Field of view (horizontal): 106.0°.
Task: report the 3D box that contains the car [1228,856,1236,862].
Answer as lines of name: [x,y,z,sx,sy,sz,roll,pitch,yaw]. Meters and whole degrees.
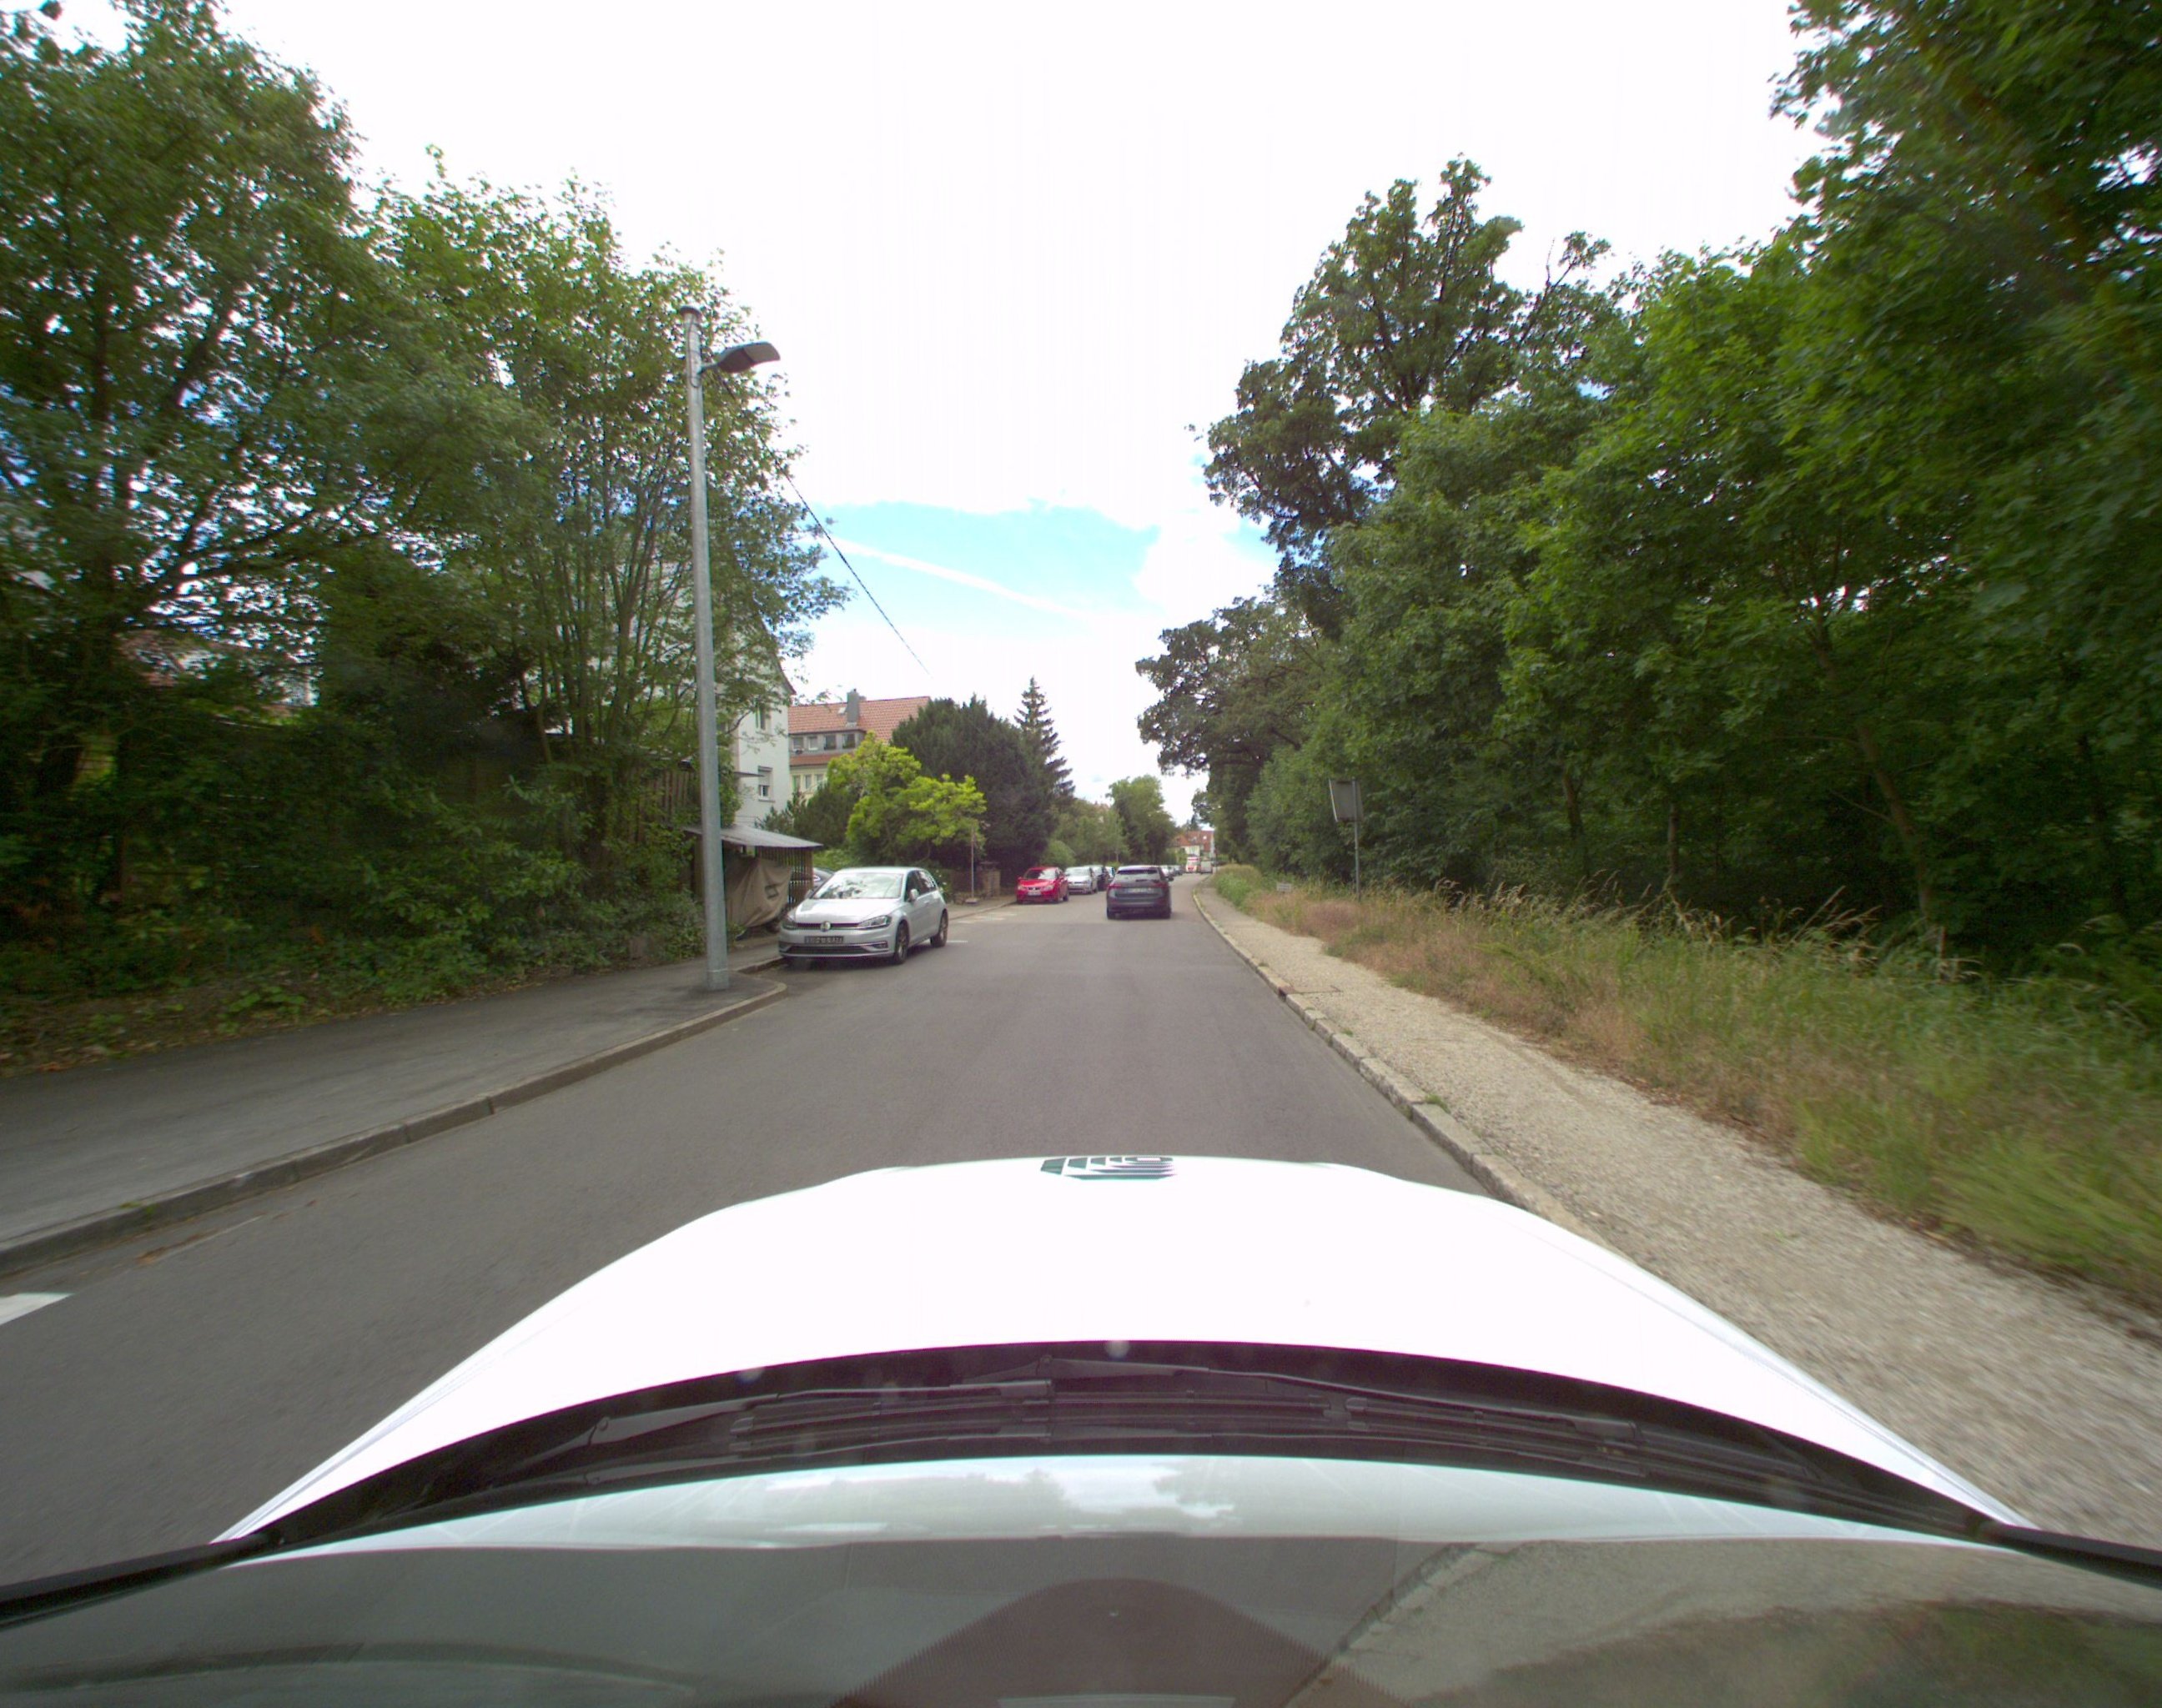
car: [40.822,1.358,220.133,1.725,1.447,4.009,0,-1,8]

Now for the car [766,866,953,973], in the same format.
car: [-3.409,0.943,13.350,1.698,1.468,4.080,0,-1,4]

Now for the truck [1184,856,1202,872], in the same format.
truck: [20.312,1.756,147.295,2.746,2.794,9.293,-1,0,10]

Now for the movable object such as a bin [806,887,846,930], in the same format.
movable object such as a bin: [-5.576,1.185,17.838,0.587,0.909,0.702,0,-1,10]

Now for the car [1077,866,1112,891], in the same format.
car: [0.844,1.396,48.253,1.741,1.405,4.005,0,-1,5]

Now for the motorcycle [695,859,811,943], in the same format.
motorcycle: [-6.251,0.839,15.782,0.805,1.485,2.900,0,-1,6]

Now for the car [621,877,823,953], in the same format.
car: [-8.579,1.435,19.656,4.032,1.387,1.650,-5,0,4]

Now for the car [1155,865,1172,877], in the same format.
car: [10.162,2.117,99.917,1.738,1.405,4.011,0,-1,10]

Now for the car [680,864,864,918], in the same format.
car: [-8.646,1.011,23.003,4.457,1.441,1.882,0,-1,6]

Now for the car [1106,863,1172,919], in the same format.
car: [1.690,0.995,23.303,1.726,1.447,4.186,0,-1,5]

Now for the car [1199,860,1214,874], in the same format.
car: [19.579,2.039,126.687,2.193,2.063,6.150,-1,0,9]

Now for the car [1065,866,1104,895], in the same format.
car: [0.239,1.368,43.066,1.741,1.405,4.005,0,-1,5]

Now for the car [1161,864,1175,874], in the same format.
car: [11.814,2.017,110.410,1.738,1.405,4.011,0,-1,10]

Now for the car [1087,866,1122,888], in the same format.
car: [1.594,1.482,53.986,1.738,1.405,4.011,0,-1,10]

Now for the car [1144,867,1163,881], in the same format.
car: [7.787,2.102,87.210,1.738,1.405,4.011,0,-1,10]

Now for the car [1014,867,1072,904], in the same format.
car: [-1.459,1.224,32.959,1.626,1.405,4.009,0,-1,8]
